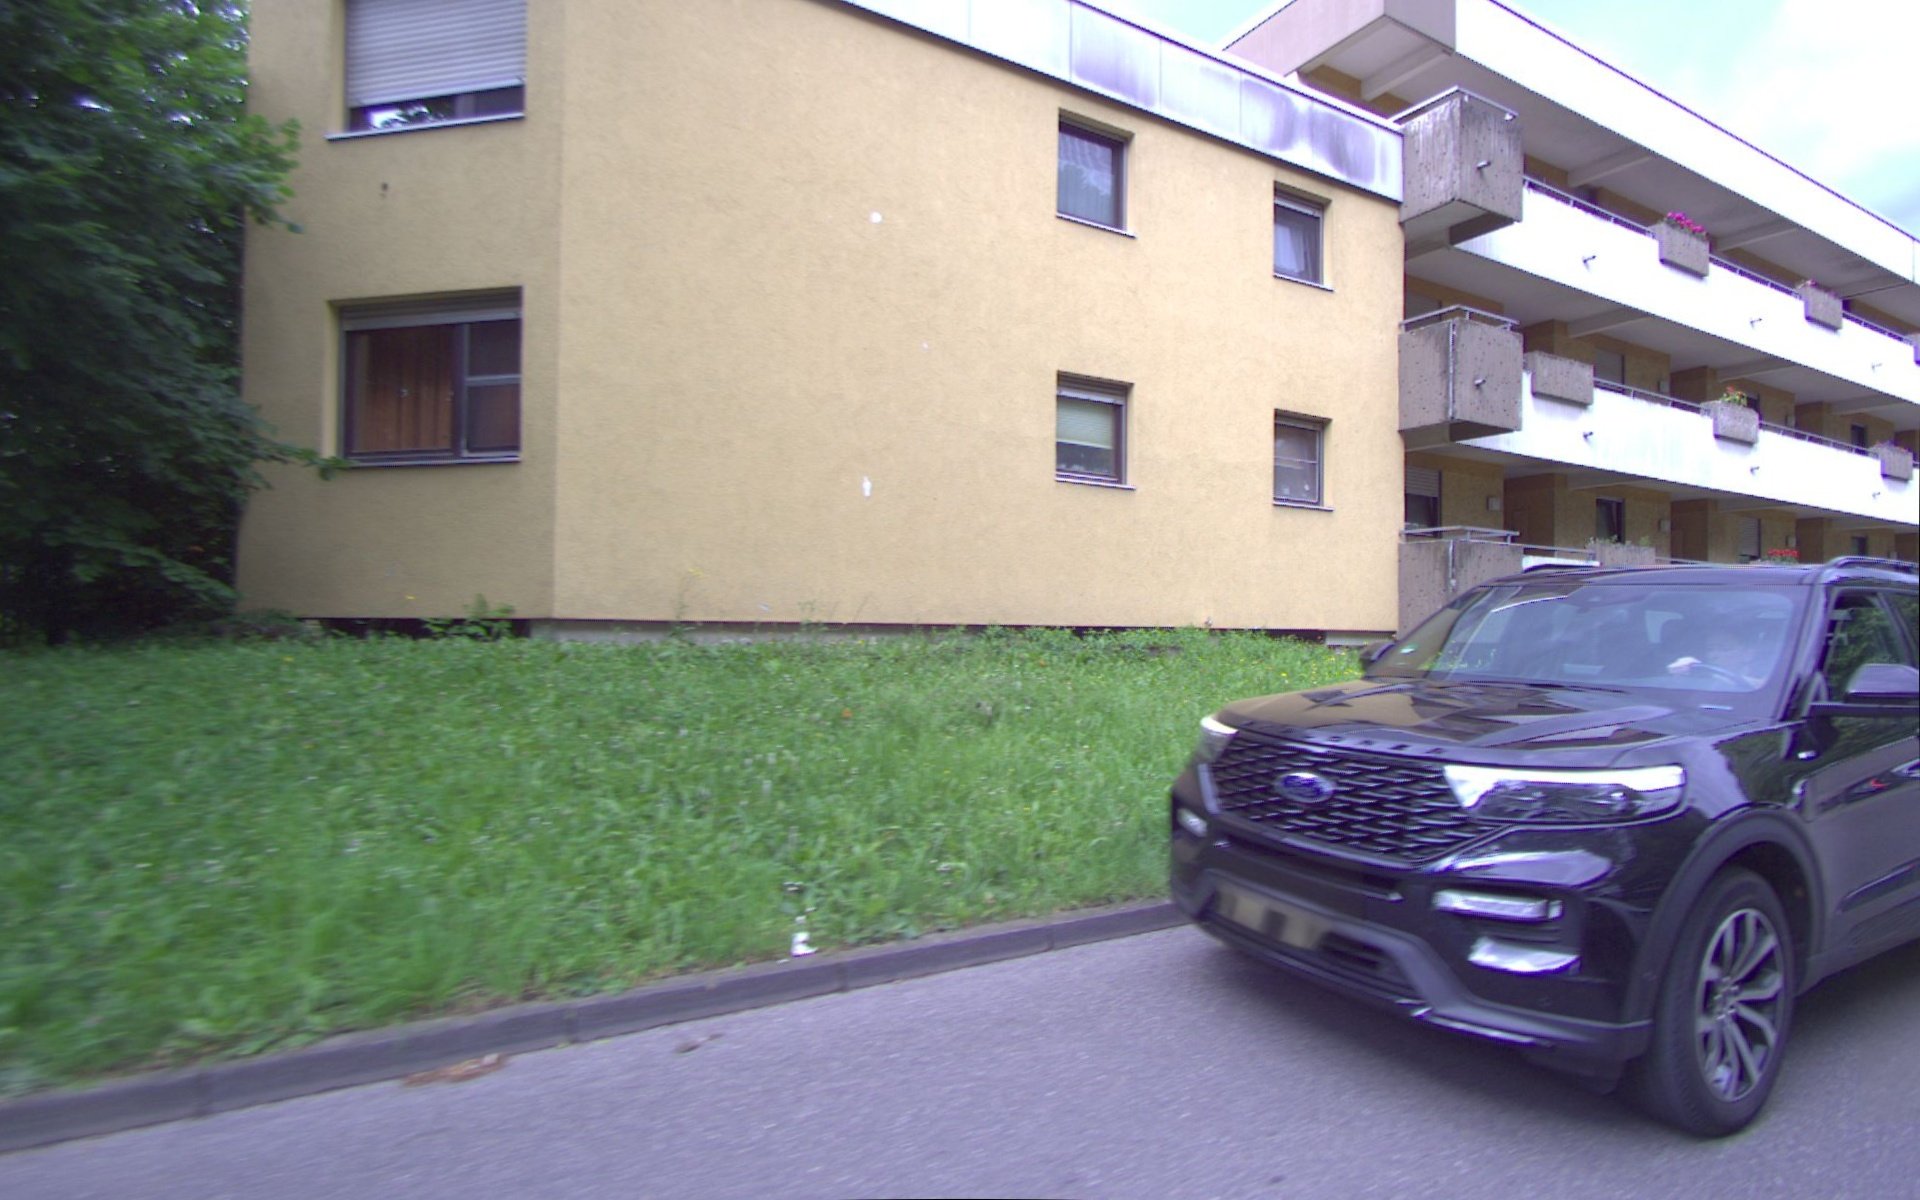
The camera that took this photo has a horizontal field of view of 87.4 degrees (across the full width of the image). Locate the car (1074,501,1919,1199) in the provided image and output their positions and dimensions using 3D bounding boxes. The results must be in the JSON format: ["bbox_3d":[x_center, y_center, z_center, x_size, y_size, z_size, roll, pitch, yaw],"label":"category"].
[{"bbox_3d":[3.080,0.699,4.433,5.000,1.740,1.904,1,-1,-31],"label":"car"}]
